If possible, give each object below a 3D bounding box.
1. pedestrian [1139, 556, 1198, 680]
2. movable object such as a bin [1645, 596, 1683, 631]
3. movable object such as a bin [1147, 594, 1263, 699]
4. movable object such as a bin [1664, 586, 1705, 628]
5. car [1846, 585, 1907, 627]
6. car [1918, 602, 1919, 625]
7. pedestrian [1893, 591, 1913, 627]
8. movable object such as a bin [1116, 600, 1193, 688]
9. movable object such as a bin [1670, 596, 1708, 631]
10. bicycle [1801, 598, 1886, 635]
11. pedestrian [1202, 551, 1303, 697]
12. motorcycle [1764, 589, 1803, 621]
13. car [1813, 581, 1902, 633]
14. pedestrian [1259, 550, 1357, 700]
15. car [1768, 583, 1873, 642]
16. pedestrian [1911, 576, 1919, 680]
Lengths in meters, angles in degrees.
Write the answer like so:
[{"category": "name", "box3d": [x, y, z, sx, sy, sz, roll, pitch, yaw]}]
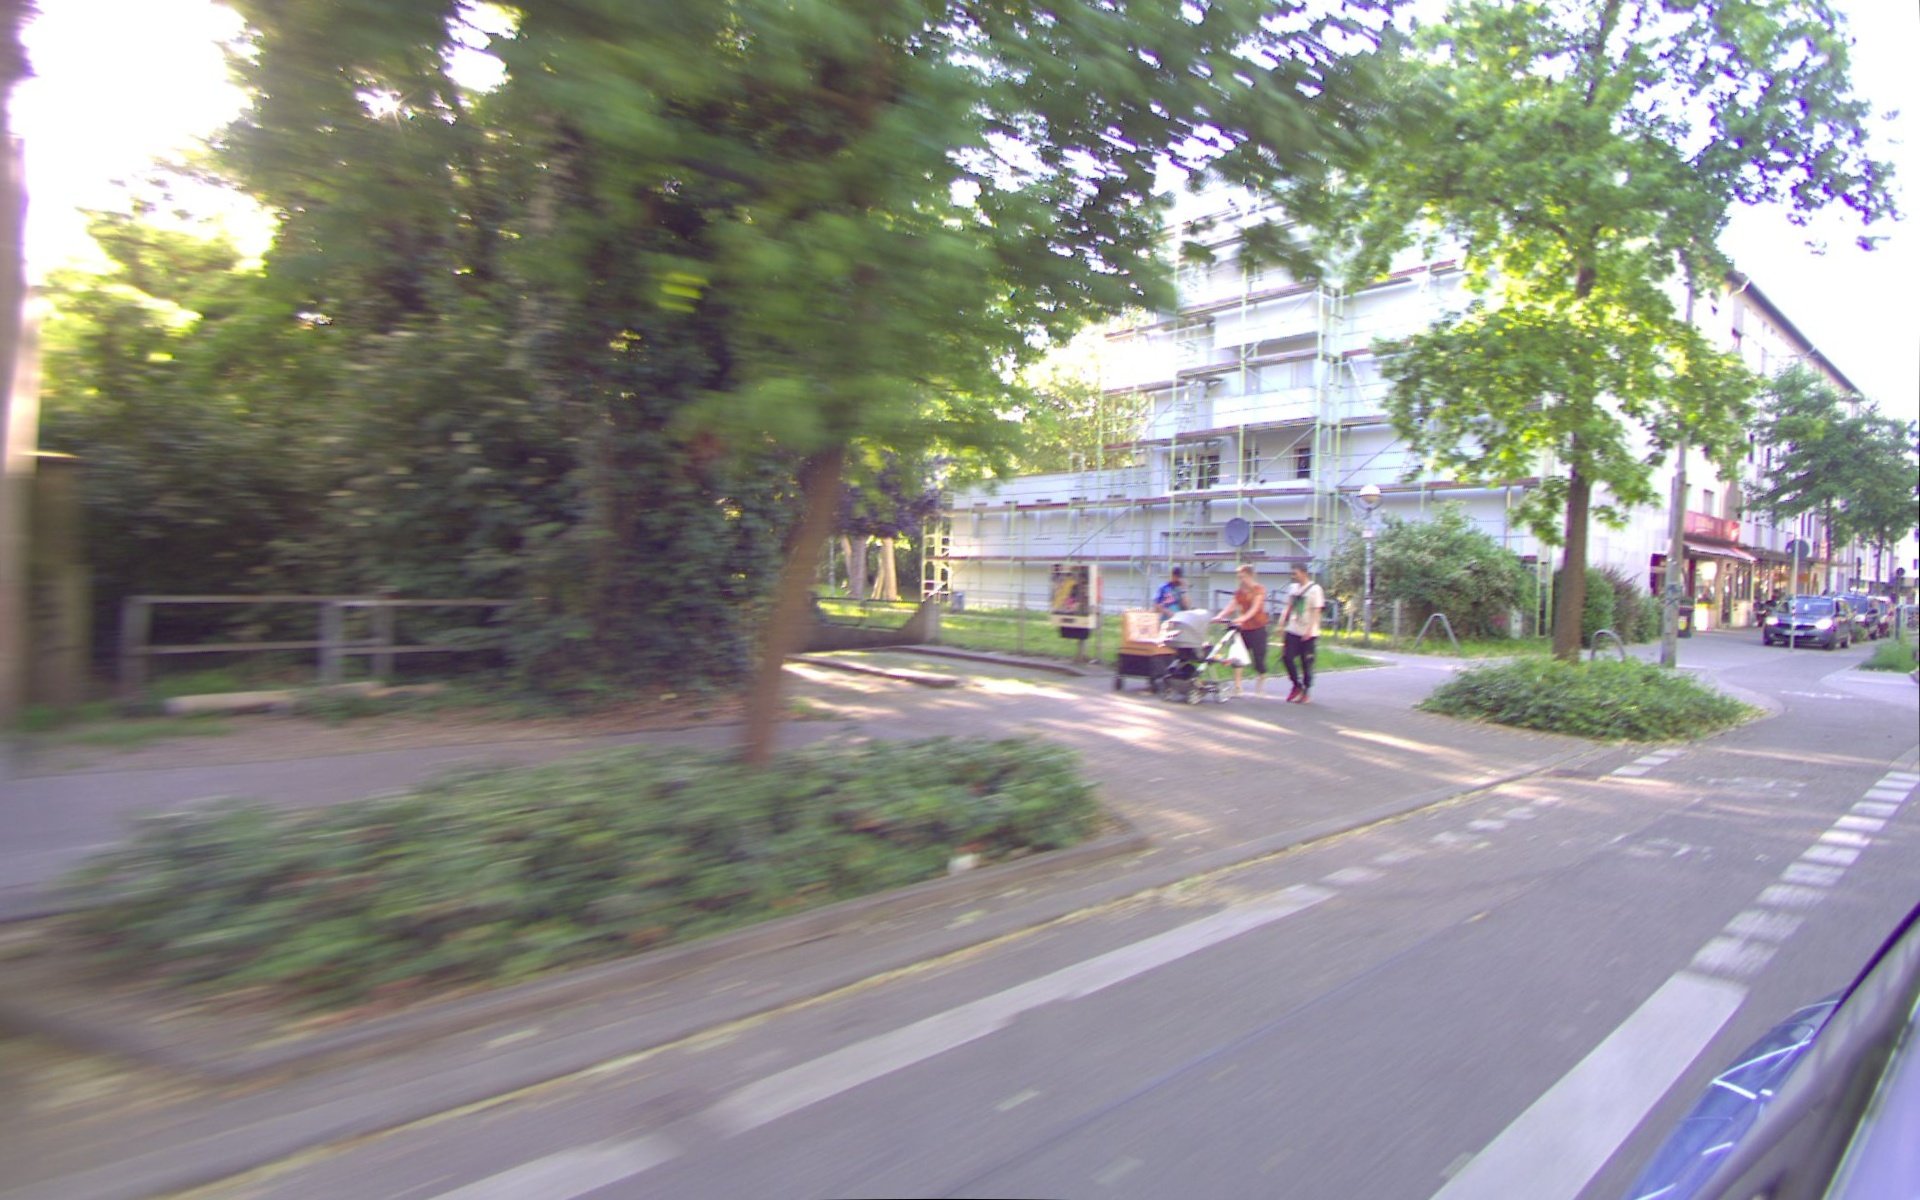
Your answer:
[{"category": "pedestrian", "box3d": [3.010, 0.245, 14.634, 0.544, 1.747, 0.619, 0, 0, -38]}, {"category": "movable object such as a bin", "box3d": [23.805, 0.448, 34.226, 0.685, 1.124, 0.882, 0, 3, -43]}, {"category": "movable object such as a bin", "box3d": [3.077, 0.566, 12.699, 1.279, 1.217, 0.642, 1, 3, -31]}, {"category": "movable object such as a bin", "box3d": [25.746, 0.243, 35.971, 0.811, 1.414, 1.000, 0, 3, -43]}, {"category": "car", "box3d": [40.919, 0.239, 45.163, 4.104, 1.777, 1.690, 0, 1, -43]}, {"category": "car", "box3d": [64.801, 0.855, 66.679, 4.577, 1.502, 1.957, 0, 0, -40]}, {"category": "pedestrian", "box3d": [48.256, 0.448, 51.781, 0.760, 1.827, 0.679, -1, 1, -44]}, {"category": "movable object such as a bin", "box3d": [2.665, 0.580, 13.841, 0.665, 1.140, 0.942, 1, 1, 41]}, {"category": "movable object such as a bin", "box3d": [24.596, 0.445, 34.133, 0.685, 1.124, 0.882, 0, 3, -43]}, {"category": "bicycle", "box3d": [32.842, 0.590, 37.632, 1.011, 1.224, 2.209, 0, 3, -41]}, {"category": "pedestrian", "box3d": [3.813, 0.290, 13.213, 0.948, 1.815, 0.729, 1, 2, -31]}, {"category": "motorcycle", "box3d": [38.541, 0.228, 47.348, 2.606, 1.332, 0.954, 2, 5, -44]}, {"category": "car", "box3d": [36.249, 0.269, 40.852, 4.119, 1.919, 1.999, 0, 3, -40]}, {"category": "pedestrian", "box3d": [4.422, 0.295, 12.868, 0.836, 1.815, 0.729, 1, 2, -31]}, {"category": "car", "box3d": [27.279, 0.383, 32.034, 4.363, 1.641, 1.766, 1, 3, -40]}, {"category": "pedestrian", "box3d": [18.107, 0.516, 18.508, 0.864, 1.908, 0.986, 1, 0, 33]}]
